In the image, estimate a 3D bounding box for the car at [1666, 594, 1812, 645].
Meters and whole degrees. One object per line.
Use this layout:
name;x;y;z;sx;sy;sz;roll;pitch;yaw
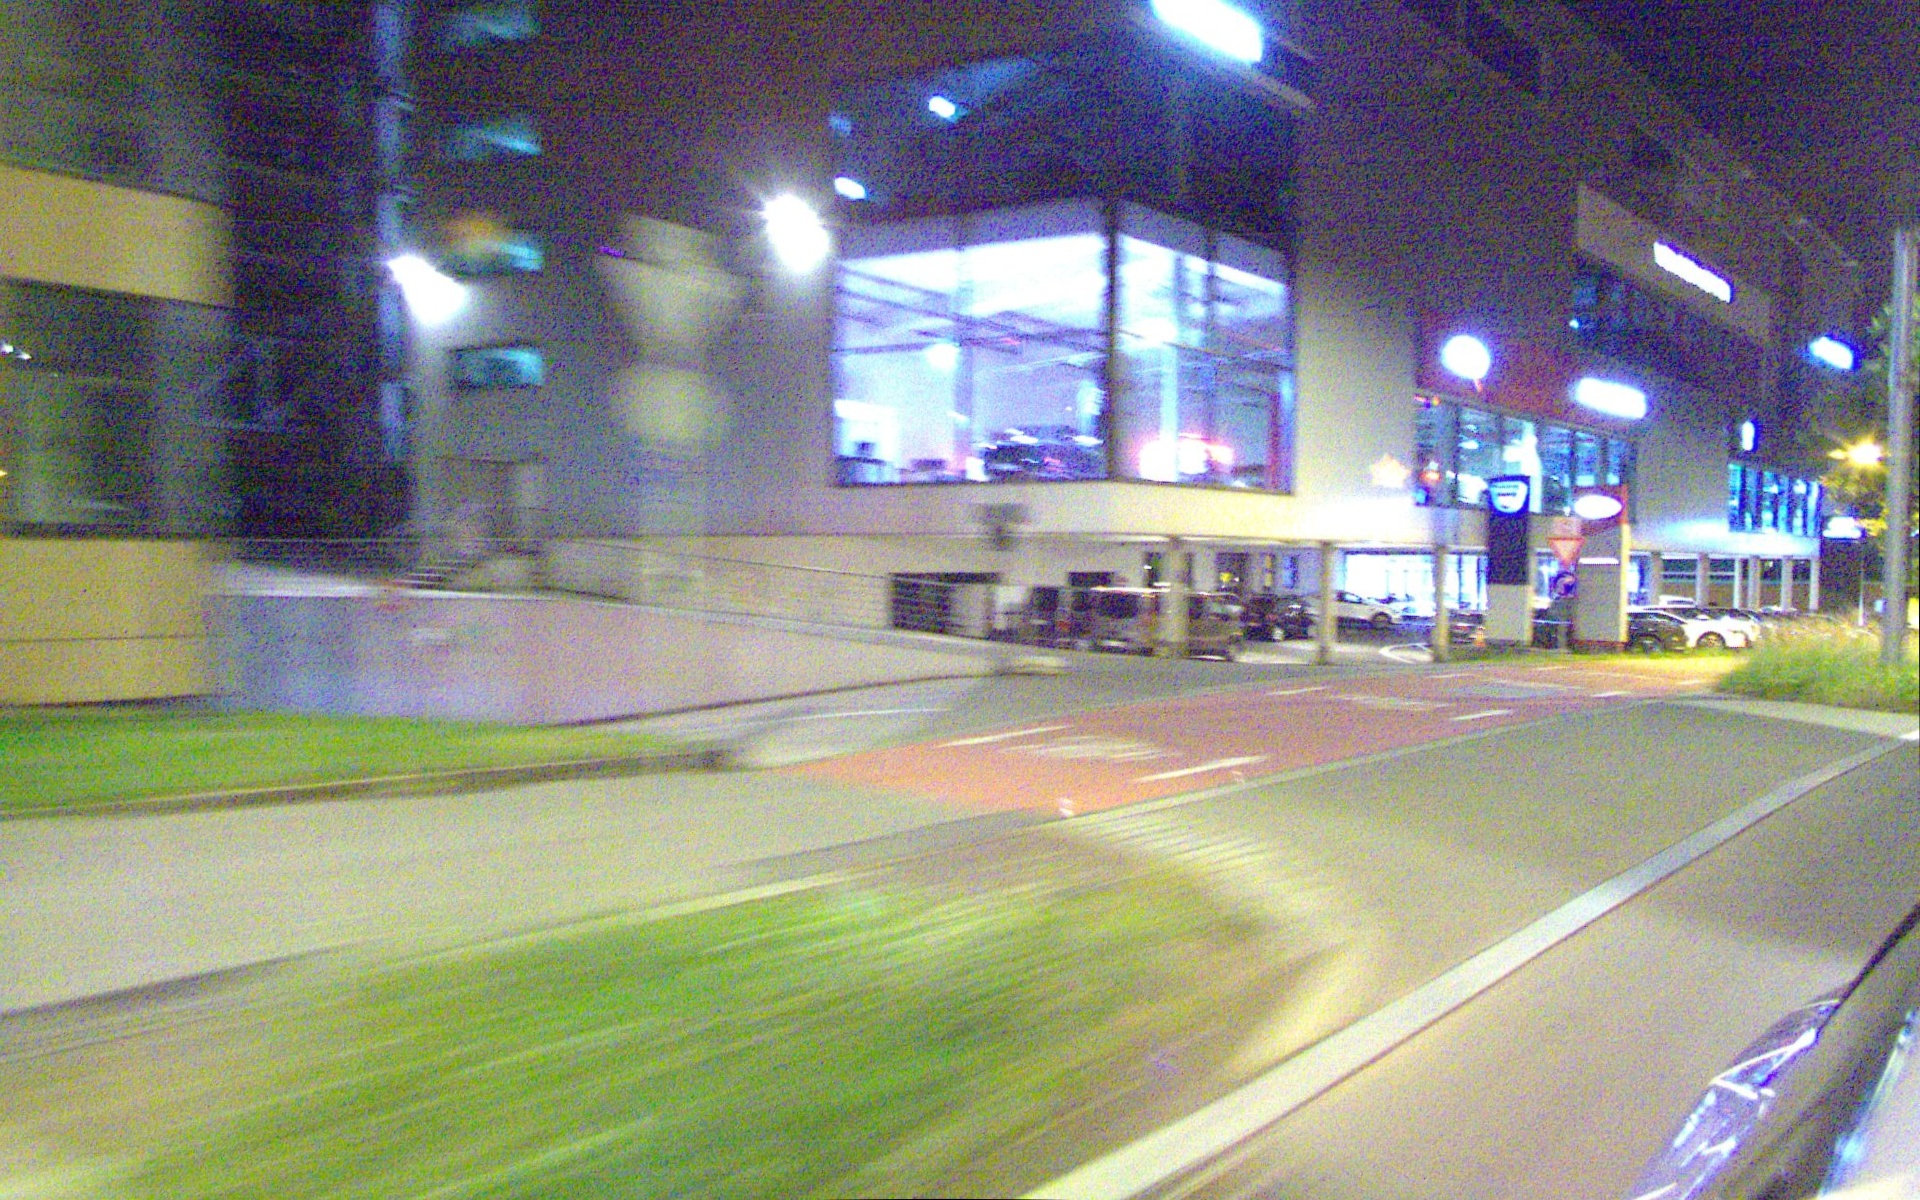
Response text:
car;27.941;0.676;36.472;3.974;1.488;1.810;5;2;34

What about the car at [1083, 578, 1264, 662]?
car;5.897;0.505;27.443;5.532;2.039;1.996;1;0;-43

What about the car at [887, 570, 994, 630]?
car;-0.750;-0.019;36.491;3.704;2.039;1.720;2;0;44

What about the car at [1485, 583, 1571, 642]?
car;20.199;0.390;36.157;1.564;1.817;3.858;1;3;12

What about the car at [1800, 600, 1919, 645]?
car;42.638;1.016;47.729;4.465;1.565;1.742;9;6;44

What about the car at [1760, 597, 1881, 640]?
car;36.440;0.746;42.971;3.766;1.395;1.691;8;4;40

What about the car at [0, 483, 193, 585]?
car;-19.881;-1.529;22.948;3.937;1.677;1.630;9;6;8

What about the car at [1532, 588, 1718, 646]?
car;18.214;0.418;27.817;4.116;1.438;1.850;1;0;40

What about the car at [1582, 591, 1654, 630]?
car;27.336;0.417;42.164;1.606;1.483;3.770;2;1;19

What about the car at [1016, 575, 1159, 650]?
car;3.766;0.350;29.428;4.336;2.019;1.813;1;0;-44

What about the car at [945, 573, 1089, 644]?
car;1.799;0.243;30.913;4.336;2.019;1.953;1;0;-44

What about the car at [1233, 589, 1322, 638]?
car;11.618;0.458;36.912;3.360;1.531;1.635;-3;4;-43

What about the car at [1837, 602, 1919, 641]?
car;45.490;1.095;49.238;4.083;1.587;1.826;8;4;43

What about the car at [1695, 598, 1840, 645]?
car;30.191;0.785;38.009;3.970;1.409;1.806;4;1;31

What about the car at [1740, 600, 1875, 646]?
car;34.485;0.904;41.323;4.017;1.390;1.801;7;4;38

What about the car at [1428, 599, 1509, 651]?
car;16.853;0.778;33.721;1.755;1.426;4.314;1;2;19

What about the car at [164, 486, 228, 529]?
car;-35.479;-4.243;46.983;3.706;1.703;1.823;2;0;45

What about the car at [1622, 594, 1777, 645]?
car;24.001;0.623;33.003;3.976;1.442;1.884;2;0;36

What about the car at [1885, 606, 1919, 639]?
car;53.820;1.340;55.695;4.203;1.683;1.930;6;3;43

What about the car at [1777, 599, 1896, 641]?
car;38.388;0.835;44.431;3.799;1.470;1.693;6;3;40

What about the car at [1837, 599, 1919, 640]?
car;47.517;1.033;51.322;4.463;1.707;1.969;8;4;43

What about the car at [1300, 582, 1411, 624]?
car;16.950;0.094;43.549;4.261;1.675;1.649;1;0;17

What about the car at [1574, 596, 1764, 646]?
car;21.844;0.627;31.440;4.603;1.280;1.927;2;0;29

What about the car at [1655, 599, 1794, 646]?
car;26.080;0.746;34.663;3.583;1.451;1.662;1;0;30

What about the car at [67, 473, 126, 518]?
car;-38.129;-4.568;44.664;3.706;1.638;1.627;2;0;45

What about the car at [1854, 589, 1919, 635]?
car;60.142;0.938;63.251;6.008;2.559;2.253;8;4;37

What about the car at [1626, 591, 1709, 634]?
car;34.425;0.558;49.389;1.810;1.942;4.803;1;0;16

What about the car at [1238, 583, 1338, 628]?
car;13.212;0.178;40.930;1.716;1.604;3.491;-1;4;-36

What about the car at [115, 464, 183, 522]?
car;-33.142;-4.312;41.325;4.105;2.039;1.671;2;0;45

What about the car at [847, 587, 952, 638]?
car;-2.077;0.373;34.031;1.589;1.467;3.729;-1;3;-41

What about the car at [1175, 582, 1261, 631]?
car;9.840;0.201;38.580;3.245;1.661;1.636;-1;5;-43
